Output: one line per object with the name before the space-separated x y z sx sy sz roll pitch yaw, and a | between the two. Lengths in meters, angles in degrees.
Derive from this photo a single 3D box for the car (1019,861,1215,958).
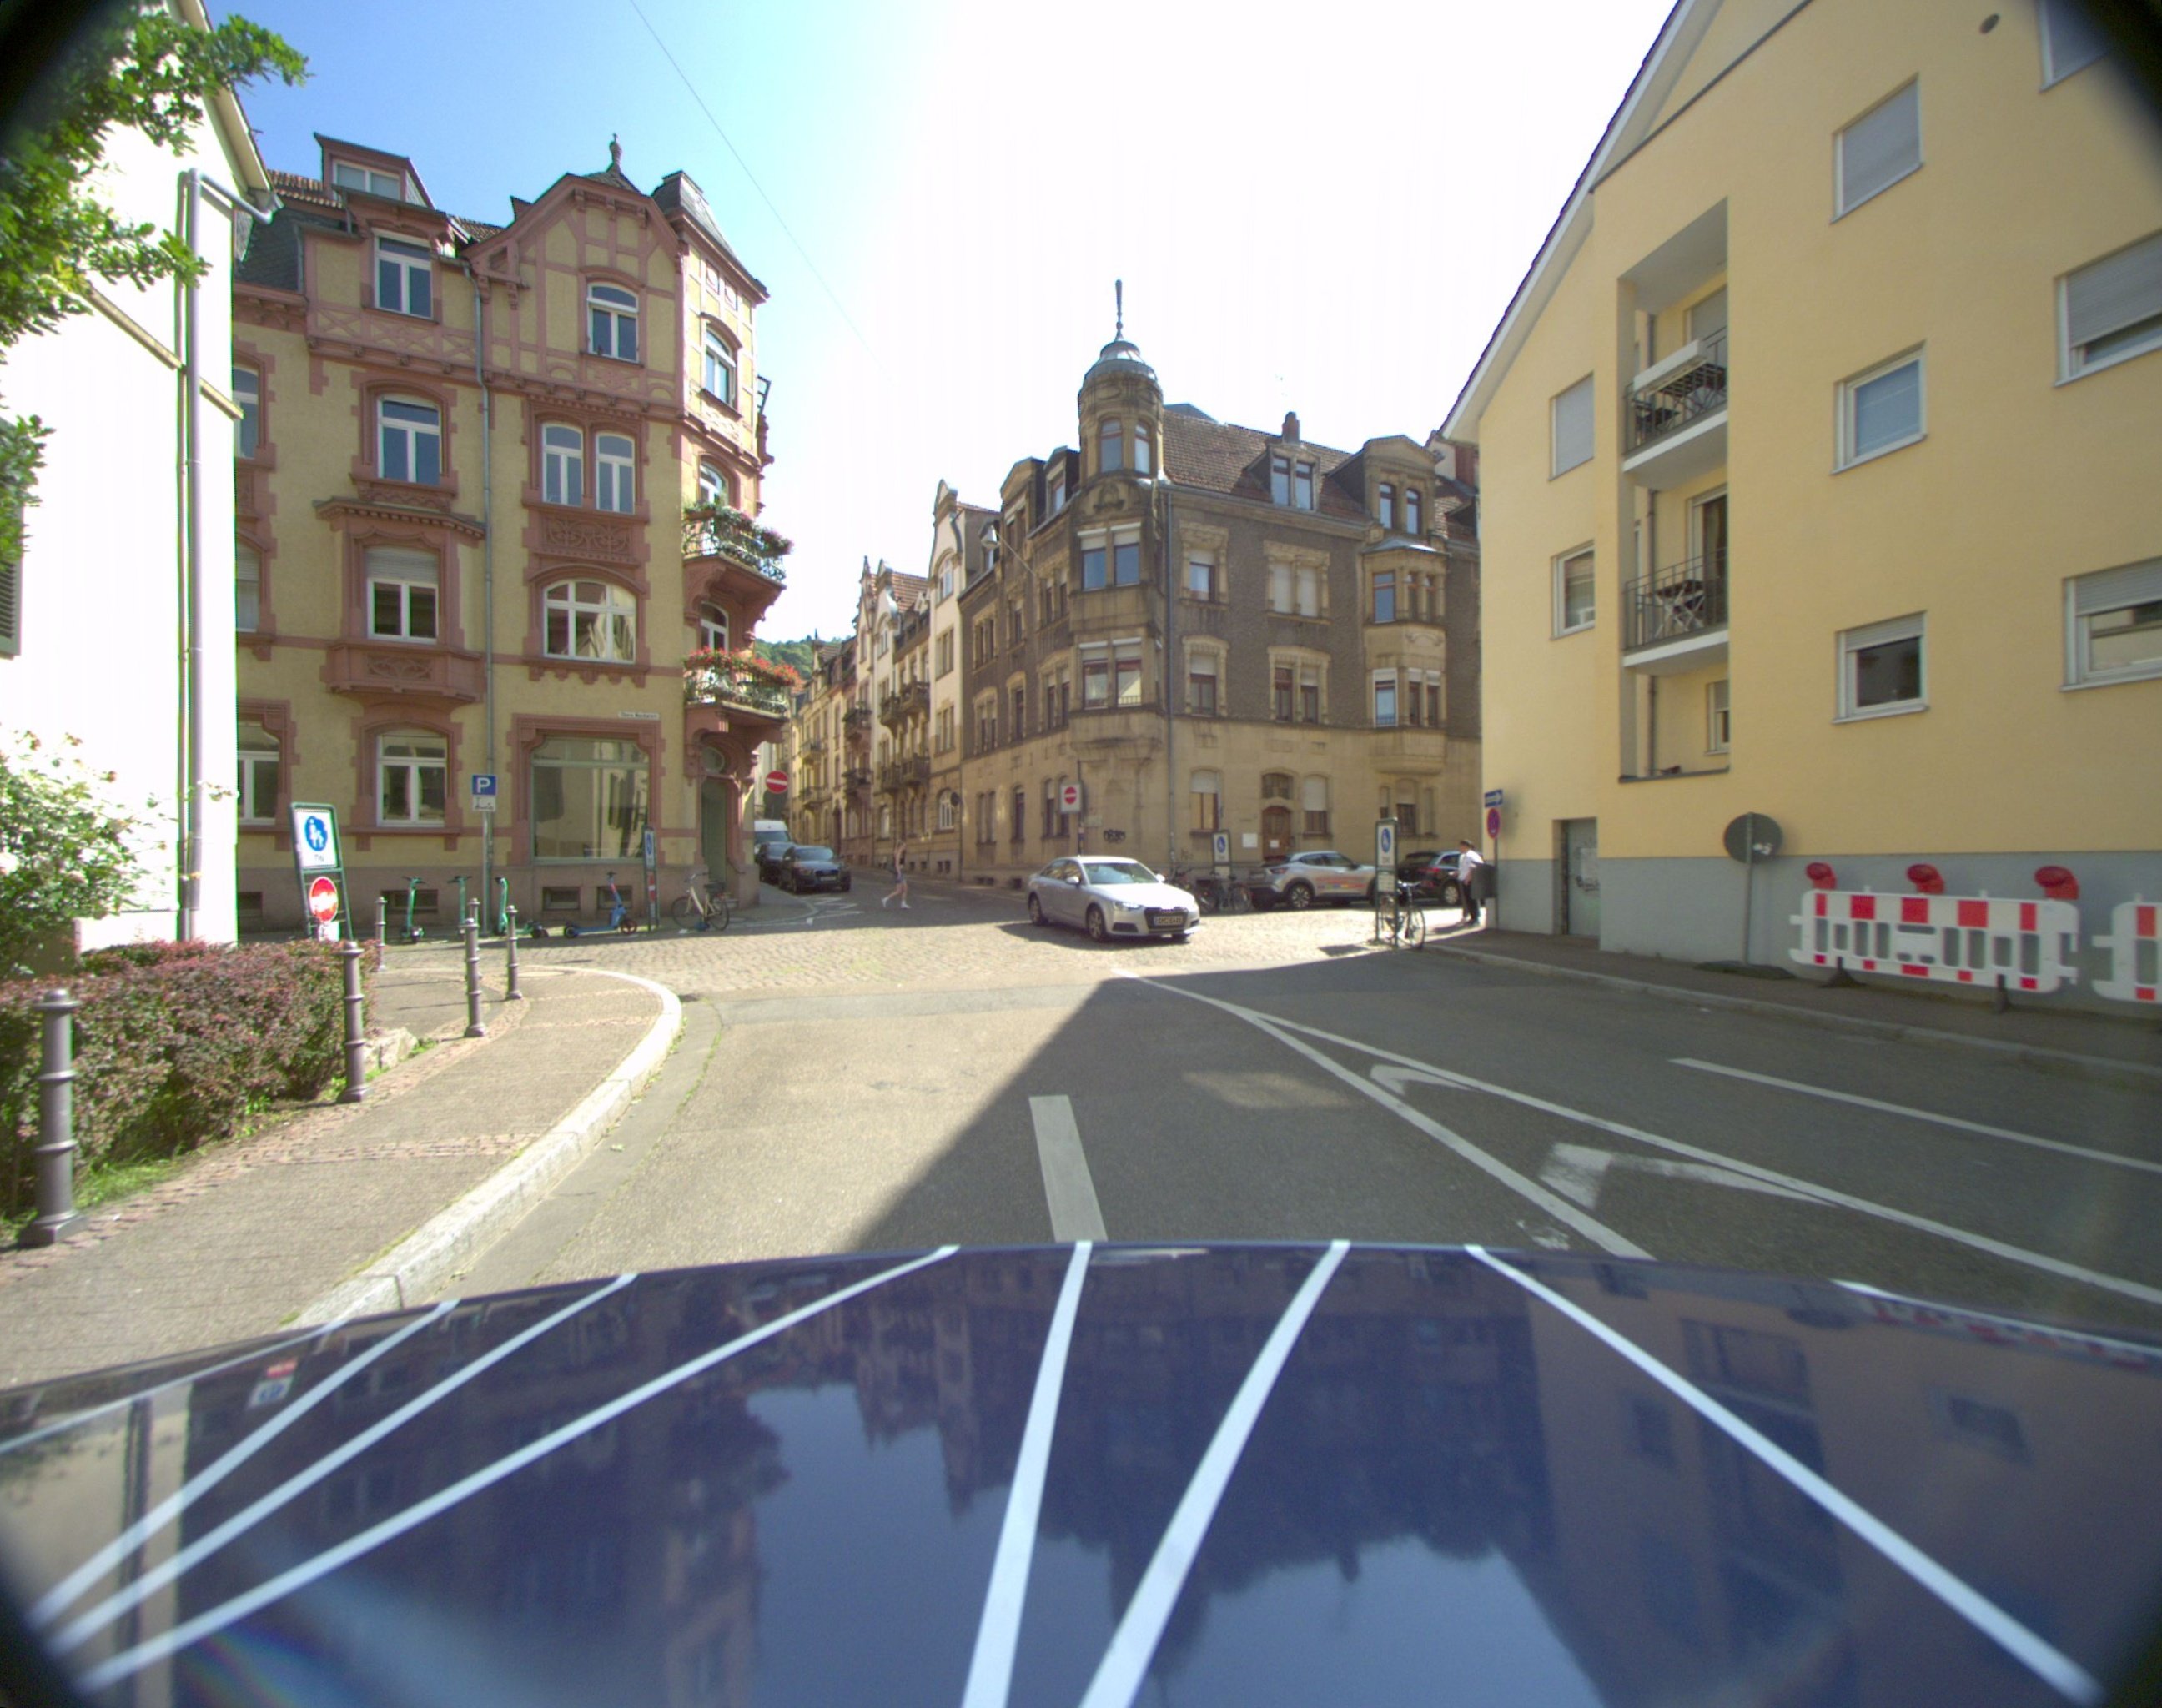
car | 0.470 0.883 14.236 1.879 1.483 4.374 0 0 -24

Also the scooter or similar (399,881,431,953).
scooter or similar | -11.883 1.089 13.545 1.187 1.202 0.343 0 0 45

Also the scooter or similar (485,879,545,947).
scooter or similar | -10.541 1.077 14.136 1.188 1.202 0.343 0 0 24

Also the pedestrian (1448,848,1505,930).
pedestrian | 8.014 0.701 15.411 0.757 1.608 0.689 -1 0 -16

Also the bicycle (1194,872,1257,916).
bicycle | 3.637 1.030 19.270 1.638 1.079 0.286 -3 -4 42

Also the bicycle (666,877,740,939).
bicycle | -7.655 1.069 15.348 1.788 1.139 0.506 1 0 34

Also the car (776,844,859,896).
car | -9.267 0.486 26.479 1.865 1.574 4.249 -2 3 -31

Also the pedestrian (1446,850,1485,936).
pedestrian | 7.451 0.736 14.738 0.658 1.609 0.491 -2 2 -45

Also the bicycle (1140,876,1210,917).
bicycle | 2.383 1.073 19.458 0.285 1.083 1.638 -49 23 -21

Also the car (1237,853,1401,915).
car | 6.391 0.755 20.469 3.932 1.535 1.849 0 0 -21

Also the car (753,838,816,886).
car | -12.150 0.261 31.004 1.764 1.696 3.989 -3 3 -29

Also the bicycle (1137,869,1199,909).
bicycle | 2.465 0.976 21.540 1.644 1.080 0.495 0 4 -21

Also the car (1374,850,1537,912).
car | 10.583 0.717 21.499 4.003 1.535 1.850 -1 0 -20

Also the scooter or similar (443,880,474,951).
scooter or similar | -11.374 1.101 13.890 0.414 1.202 1.231 -1 0 -39

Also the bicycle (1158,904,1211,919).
bicycle | 2.581 1.439 19.115 1.078 0.286 1.123 0 0 -6

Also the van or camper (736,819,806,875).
van or camper | -15.462 -0.420 37.610 2.230 2.506 6.749 0 2 -31

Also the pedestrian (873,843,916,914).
pedestrian | -4.781 0.621 19.485 0.982 1.749 0.622 -1 4 -21

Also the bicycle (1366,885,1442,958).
bicycle | 5.466 1.108 12.978 0.391 1.073 1.909 0 0 -3

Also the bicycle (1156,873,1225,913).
bicycle | 2.816 1.002 19.703 0.285 1.083 1.638 -49 23 -21

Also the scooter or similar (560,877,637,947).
scooter or similar | -8.977 1.055 14.161 1.193 1.228 0.441 0 0 -34

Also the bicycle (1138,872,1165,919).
bicycle | 1.772 1.025 19.246 0.286 1.079 1.641 -4 0 -6
